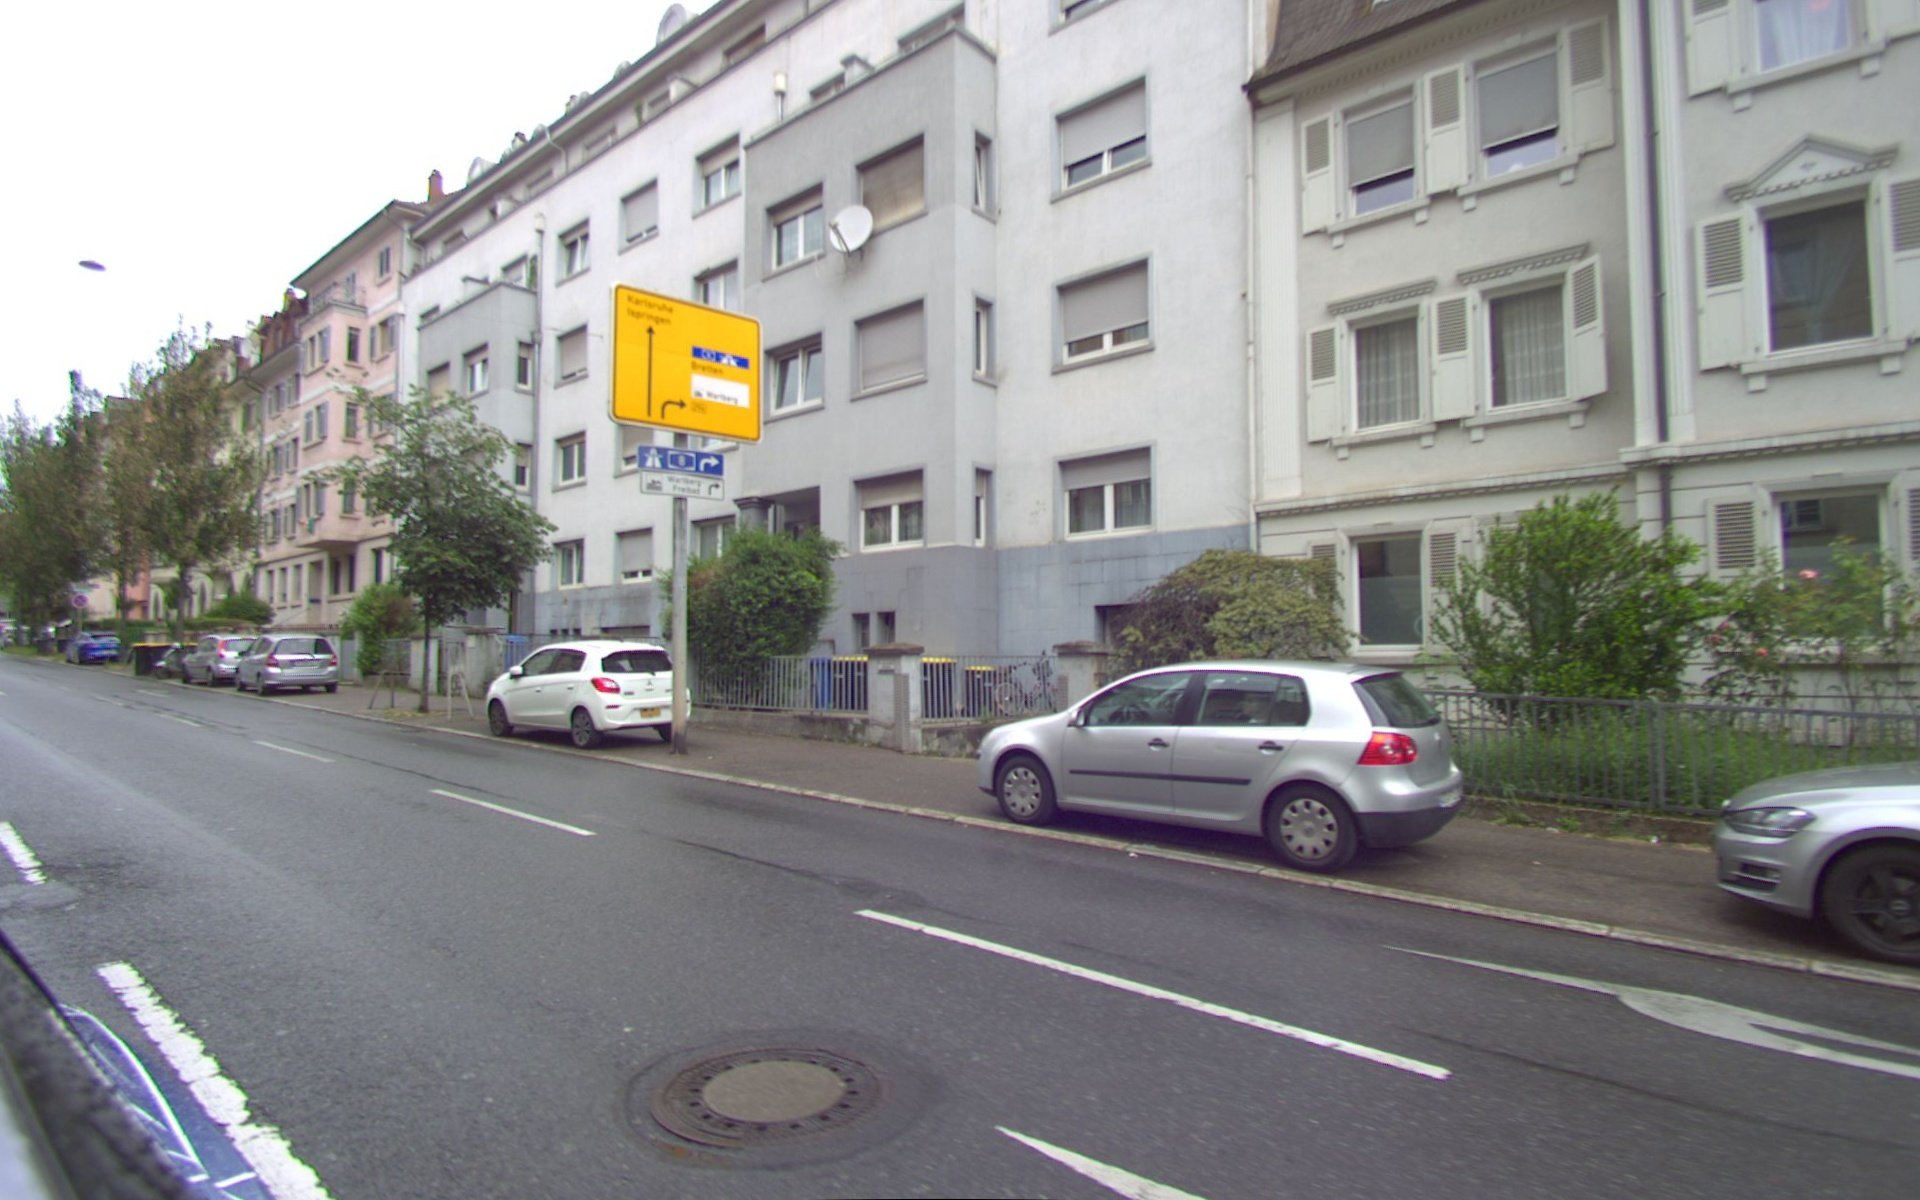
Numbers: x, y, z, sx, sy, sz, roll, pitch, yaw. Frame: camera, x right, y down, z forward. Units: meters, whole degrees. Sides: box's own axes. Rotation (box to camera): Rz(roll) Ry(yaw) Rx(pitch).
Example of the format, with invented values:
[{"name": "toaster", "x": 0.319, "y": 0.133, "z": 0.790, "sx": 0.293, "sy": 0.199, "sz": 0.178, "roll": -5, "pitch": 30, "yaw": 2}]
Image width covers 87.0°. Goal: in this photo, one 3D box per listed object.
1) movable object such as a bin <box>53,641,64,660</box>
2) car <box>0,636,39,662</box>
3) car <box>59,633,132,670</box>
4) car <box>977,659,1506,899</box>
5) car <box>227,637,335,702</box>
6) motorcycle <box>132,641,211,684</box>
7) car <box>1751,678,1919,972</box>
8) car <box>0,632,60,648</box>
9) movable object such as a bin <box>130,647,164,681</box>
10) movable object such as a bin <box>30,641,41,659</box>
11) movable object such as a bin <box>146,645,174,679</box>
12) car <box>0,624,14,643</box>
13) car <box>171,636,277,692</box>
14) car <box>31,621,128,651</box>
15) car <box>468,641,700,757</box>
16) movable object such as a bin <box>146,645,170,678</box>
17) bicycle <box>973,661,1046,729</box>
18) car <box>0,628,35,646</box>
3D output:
[{"name": "movable object such as a bin", "x": -46.067, "y": 2.573, "z": 51.714, "sx": 0.572, "sy": 0.918, "sz": 0.360, "roll": 0, "pitch": -1, "yaw": 41}, {"name": "car", "x": -58.094, "y": 3.003, "z": 62.211, "sx": 4.136, "sy": 1.428, "sz": 1.663, "roll": -1, "pitch": -4, "yaw": 42}, {"name": "car", "x": -36.805, "y": 2.153, "z": 43.051, "sx": 4.601, "sy": 1.396, "sz": 1.661, "roll": 0, "pitch": -2, "yaw": 41}, {"name": "car", "x": 2.153, "y": 1.254, "z": 8.400, "sx": 3.908, "sy": 1.401, "sz": 1.665, "roll": -1, "pitch": -2, "yaw": 42}, {"name": "car", "x": -17.463, "y": 1.718, "z": 25.953, "sx": 3.889, "sy": 1.462, "sz": 1.582, "roll": -2, "pitch": -2, "yaw": 45}, {"name": "motorcycle", "x": -24.793, "y": 1.962, "z": 31.830, "sx": 1.783, "sy": 1.325, "sz": 0.743, "roll": 1, "pitch": -3, "yaw": -7}, {"name": "car", "x": 6.341, "y": 1.171, "z": 4.837, "sx": 3.935, "sy": 1.401, "sz": 1.665, "roll": -1, "pitch": -2, "yaw": 42}, {"name": "car", "x": -82.810, "y": 3.560, "z": 90.027, "sx": 1.646, "sy": 1.307, "sz": 3.877, "roll": 0, "pitch": -3, "yaw": 42}, {"name": "movable object such as a bin", "x": -27.148, "y": 2.122, "z": 33.787, "sx": 0.483, "sy": 1.066, "sz": 0.816, "roll": 0, "pitch": 1, "yaw": 42}, {"name": "movable object such as a bin", "x": -46.638, "y": 2.529, "z": 51.047, "sx": 0.572, "sy": 0.896, "sz": 0.360, "roll": -1, "pitch": -1, "yaw": 41}, {"name": "movable object such as a bin", "x": -26.093, "y": 2.018, "z": 33.017, "sx": 0.480, "sy": 1.066, "sz": 0.522, "roll": 0, "pitch": 0, "yaw": 20}, {"name": "car", "x": -93.665, "y": 3.173, "z": 97.171, "sx": 1.865, "sy": 1.861, "sz": 3.880, "roll": 0, "pitch": -3, "yaw": 39}, {"name": "car", "x": -21.205, "y": 1.802, "z": 29.110, "sx": 3.885, "sy": 1.407, "sz": 1.584, "roll": 0, "pitch": -2, "yaw": 41}, {"name": "car", "x": -60.004, "y": 2.440, "z": 69.031, "sx": 1.917, "sy": 1.919, "sz": 4.672, "roll": 0, "pitch": -1, "yaw": 39}, {"name": "car", "x": -5.776, "y": 1.396, "z": 15.387, "sx": 3.793, "sy": 1.519, "sz": 1.629, "roll": -1, "pitch": -3, "yaw": 40}, {"name": "movable object such as a bin", "x": -26.583, "y": 2.030, "z": 33.542, "sx": 0.482, "sy": 1.066, "sz": 0.467, "roll": 0, "pitch": 0, "yaw": 32}, {"name": "bicycle", "x": 0.867, "y": 1.610, "z": 17.407, "sx": 0.484, "sy": 1.098, "sz": 1.406, "roll": -1, "pitch": -3, "yaw": 41}, {"name": "car", "x": -90.708, "y": 3.542, "z": 96.213, "sx": 1.592, "sy": 1.634, "sz": 3.877, "roll": 0, "pitch": -3, "yaw": 42}]
